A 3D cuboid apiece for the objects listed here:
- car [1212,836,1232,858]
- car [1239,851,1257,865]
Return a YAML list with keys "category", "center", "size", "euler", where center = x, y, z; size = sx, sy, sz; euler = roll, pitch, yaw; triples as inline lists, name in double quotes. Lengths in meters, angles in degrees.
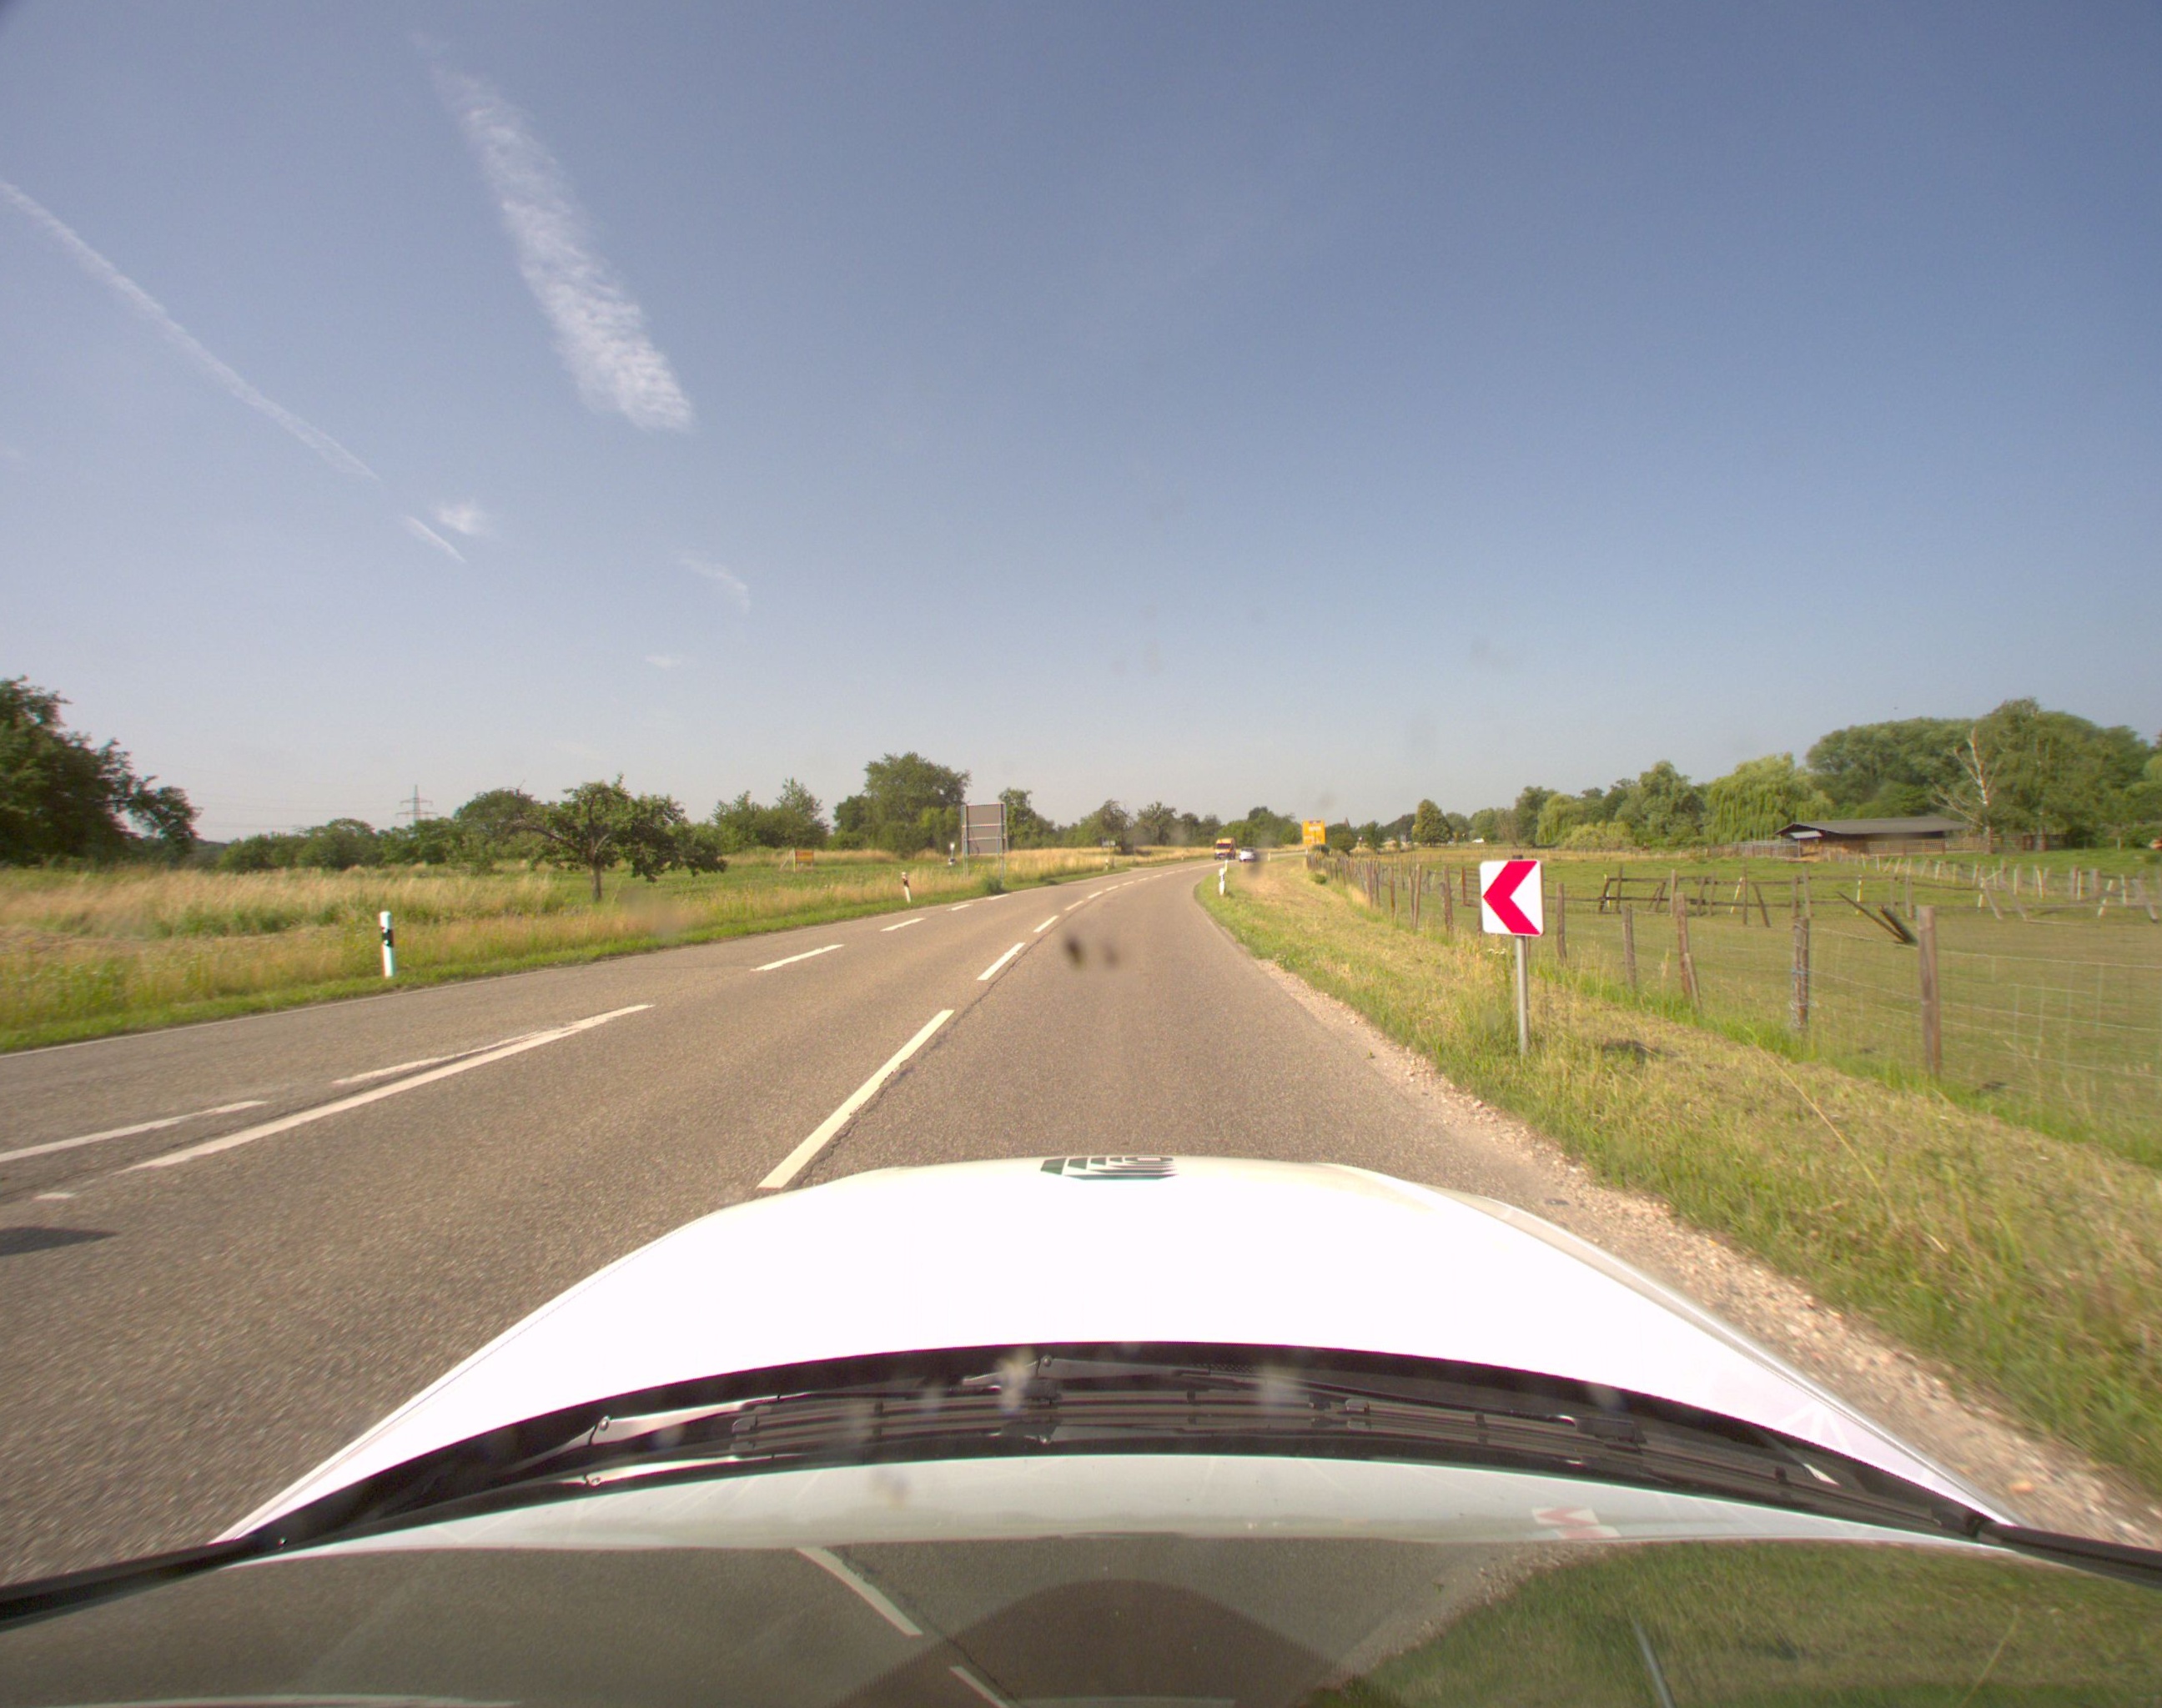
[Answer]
- category: "car"
  center: [17.476, -0.846, 101.037]
  size: [2.109, 2.696, 5.287]
  euler: [-1, 0, 13]
- category: "car"
  center: [18.446, 0.398, 89.932]
  size: [1.887, 1.512, 4.012]
  euler: [0, 0, 11]
